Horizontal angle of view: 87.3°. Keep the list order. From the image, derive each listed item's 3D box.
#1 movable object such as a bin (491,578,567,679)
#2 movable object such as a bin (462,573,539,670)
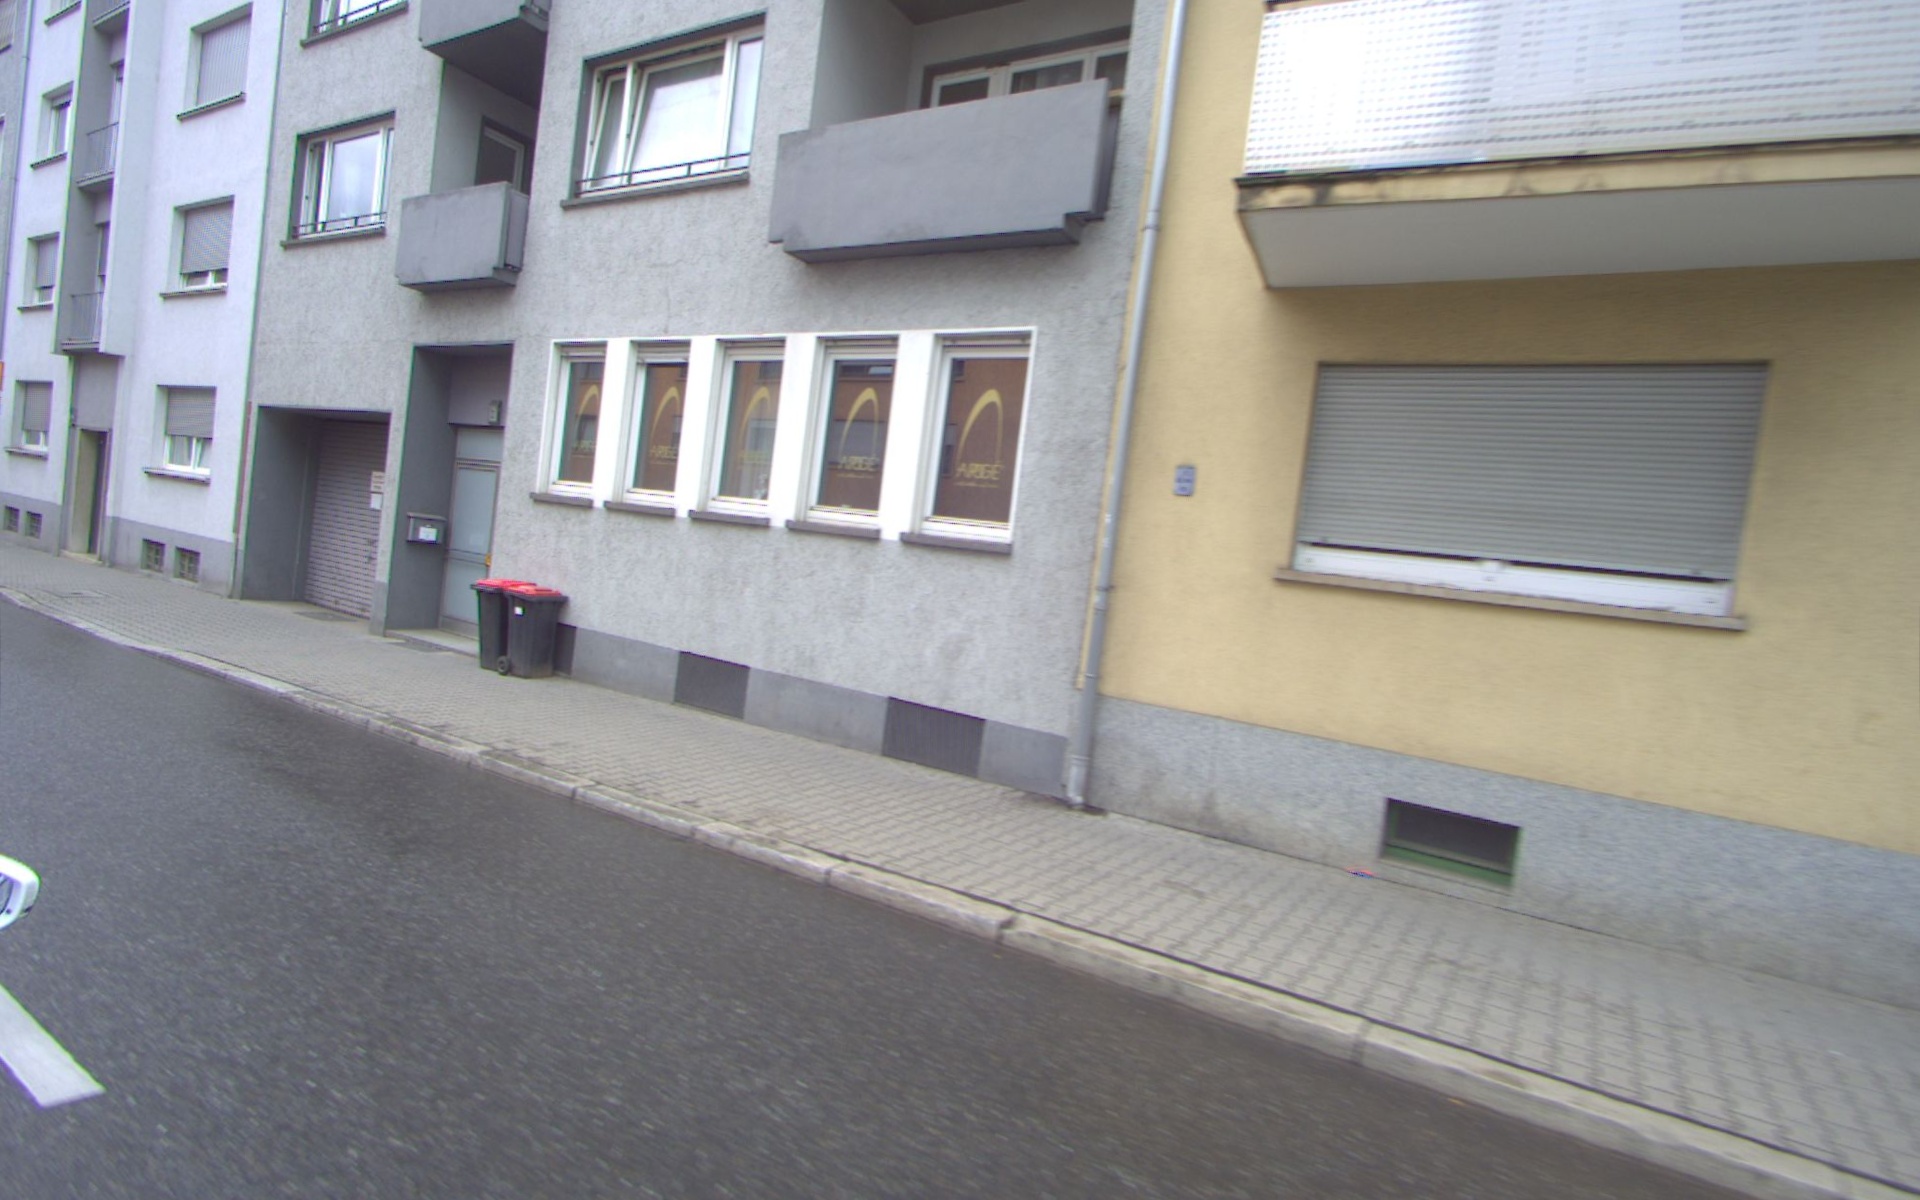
[{"bbox_3d":[-4.523,0.287,10.559,0.555,0.976,0.472,8,5,34],"label":"movable object such as a bin"},{"bbox_3d":[-4.959,0.228,10.869,0.467,0.976,0.561,8,5,35],"label":"movable object such as a bin"}]
